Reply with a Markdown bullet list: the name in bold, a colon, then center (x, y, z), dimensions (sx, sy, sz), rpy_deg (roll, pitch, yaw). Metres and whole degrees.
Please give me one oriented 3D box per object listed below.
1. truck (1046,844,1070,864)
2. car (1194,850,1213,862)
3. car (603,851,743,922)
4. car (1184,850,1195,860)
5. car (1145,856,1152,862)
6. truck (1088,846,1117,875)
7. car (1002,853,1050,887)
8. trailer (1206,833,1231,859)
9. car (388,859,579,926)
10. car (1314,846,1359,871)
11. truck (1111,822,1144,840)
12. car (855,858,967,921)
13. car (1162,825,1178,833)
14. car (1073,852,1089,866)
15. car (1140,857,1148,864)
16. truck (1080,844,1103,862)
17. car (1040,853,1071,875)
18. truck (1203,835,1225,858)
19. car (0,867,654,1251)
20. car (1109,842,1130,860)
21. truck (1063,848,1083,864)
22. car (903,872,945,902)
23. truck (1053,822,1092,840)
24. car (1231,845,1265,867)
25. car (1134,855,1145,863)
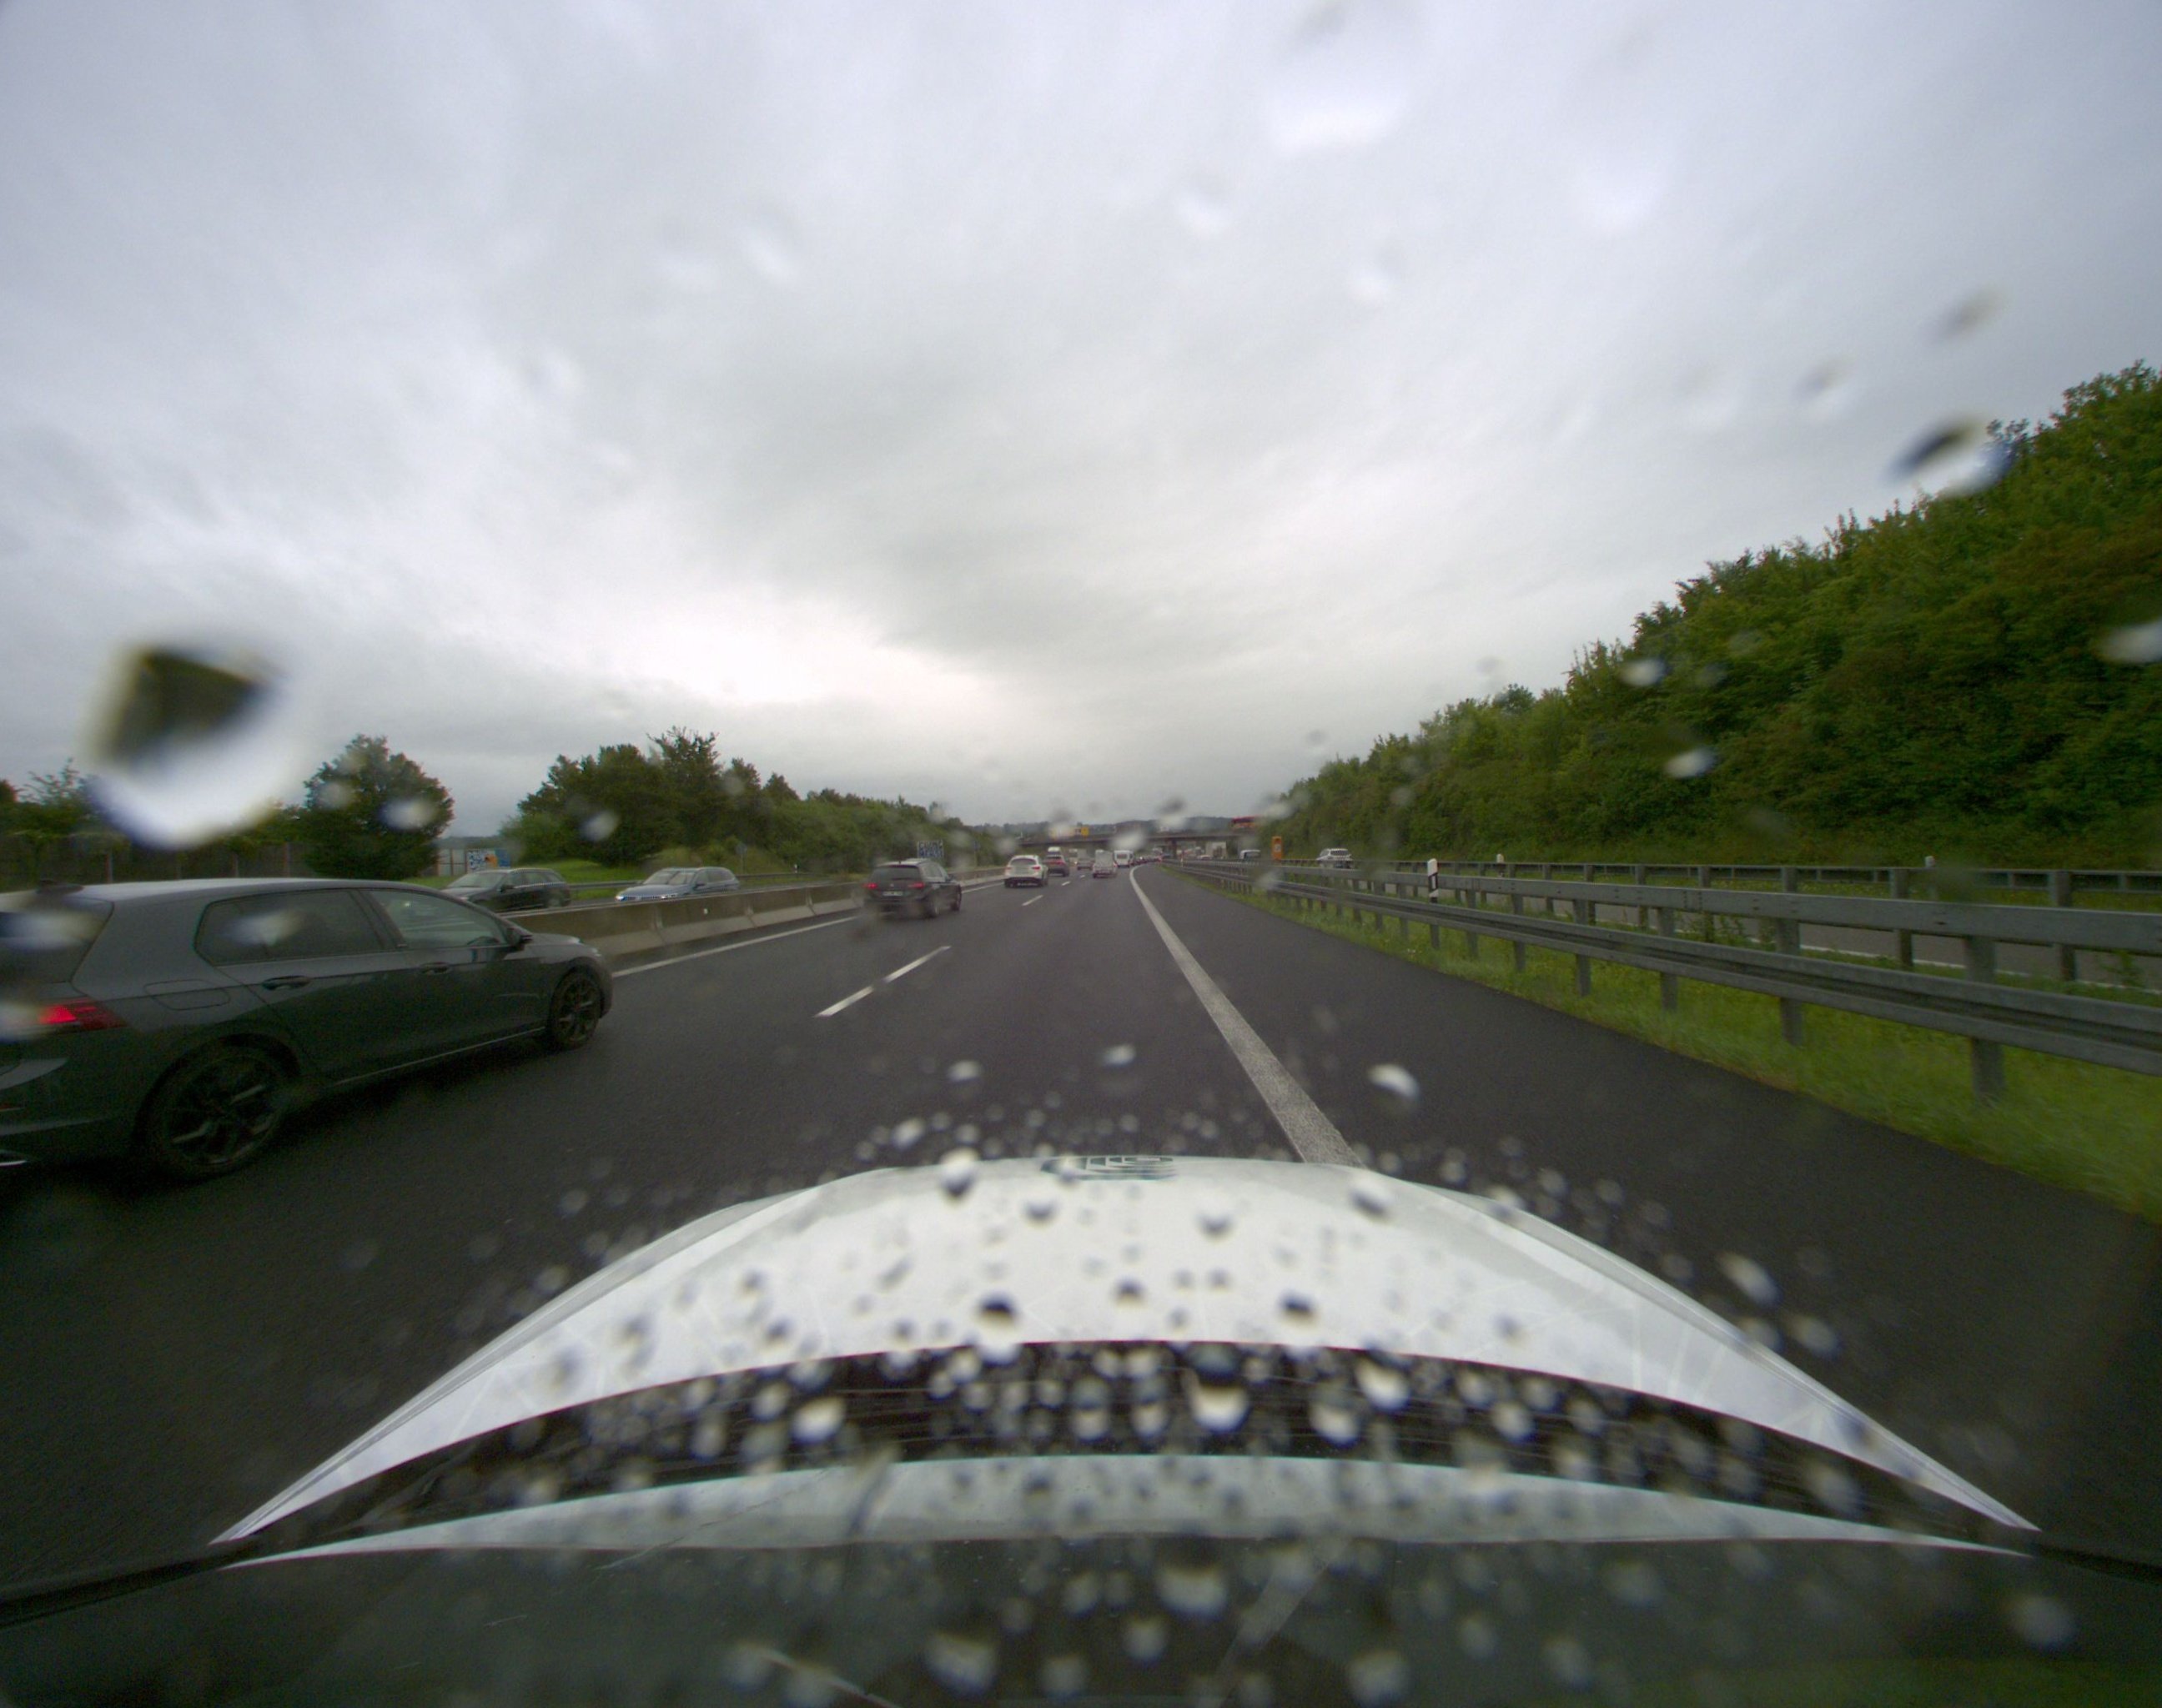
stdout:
- **truck**: center (-4.868, 0.006, 174.171), dimensions (3.749, 3.992, 13.202), rpy_deg (-1, 0, 4)
- **car**: center (16.871, 0.314, 111.917), dimensions (2.000, 1.548, 4.697), rpy_deg (-1, 0, 2)
- **car**: center (-11.874, 0.873, 24.059), dimensions (1.987, 1.902, 4.173), rpy_deg (0, 0, 0)
- **car**: center (21.959, 0.175, 164.536), dimensions (1.852, 1.805, 4.652), rpy_deg (-1, 0, 3)
- **car**: center (19.851, 1.378, 239.809), dimensions (1.985, 1.750, 4.004), rpy_deg (0, 0, 3)
- **truck**: center (1.638, 0.431, 60.790), dimensions (2.011, 1.985, 7.216), rpy_deg (-1, 0, 2)
- **car**: center (-2.774, 0.793, 42.275), dimensions (1.968, 1.639, 4.503), rpy_deg (-1, 0, 2)
- **trailer**: center (24.558, -1.412, 145.956), dimensions (3.421, 4.289, 10.467), rpy_deg (-1, 0, 5)
- **car**: center (-16.548, 0.988, 22.909), dimensions (1.975, 1.614, 4.423), rpy_deg (-1, 0, 2)
- **car**: center (17.362, 0.295, 55.528), dimensions (1.889, 1.612, 4.148), rpy_deg (-1, 0, 2)
- **truck**: center (12.927, -6.367, 226.600), dimensions (3.795, 4.836, 9.933), rpy_deg (-1, 0, -36)
- **car**: center (-4.485, 0.885, 22.223), dimensions (1.893, 1.497, 4.852), rpy_deg (-1, -1, 1)
- **car**: center (23.078, -6.400, 211.243), dimensions (1.852, 1.915, 3.955), rpy_deg (0, 0, -37)
- **car**: center (0.038, 0.607, 99.823), dimensions (1.894, 1.613, 4.016), rpy_deg (-1, 0, 0)
- **car**: center (16.086, 1.613, 207.825), dimensions (1.985, 1.750, 4.002), rpy_deg (0, 0, 2)
- **truck**: center (2.266, -0.300, 170.903), dimensions (3.749, 3.554, 13.202), rpy_deg (-1, 0, 4)
- **car**: center (-2.022, 0.769, 65.274), dimensions (2.166, 1.631, 4.502), rpy_deg (-1, 0, 1)
- **truck**: center (25.471, -1.435, 156.356), dimensions (3.420, 4.289, 10.433), rpy_deg (-1, 0, 5)
- **car**: center (-5.050, 0.860, 5.429), dimensions (1.893, 1.405, 4.461), rpy_deg (-1, 0, 2)
- **car**: center (5.860, -0.421, 122.932), dimensions (3.004, 2.616, 6.080), rpy_deg (-2, 0, 3)
- **truck**: center (-1.941, 0.453, 204.786), dimensions (3.749, 3.992, 13.202), rpy_deg (-1, 0, 4)
- **car**: center (-10.750, 2.236, 56.050), dimensions (1.987, 1.902, 4.173), rpy_deg (0, 0, 0)
- **truck**: center (-2.697, -6.877, 248.931), dimensions (3.795, 4.836, 15.076), rpy_deg (-1, 0, -36)
- **car**: center (14.523, 0.189, 70.963), dimensions (2.002, 1.815, 4.275), rpy_deg (-1, 0, -1)
- **car**: center (12.037, 1.050, 167.739), dimensions (1.988, 1.750, 3.998), rpy_deg (0, 0, -1)
